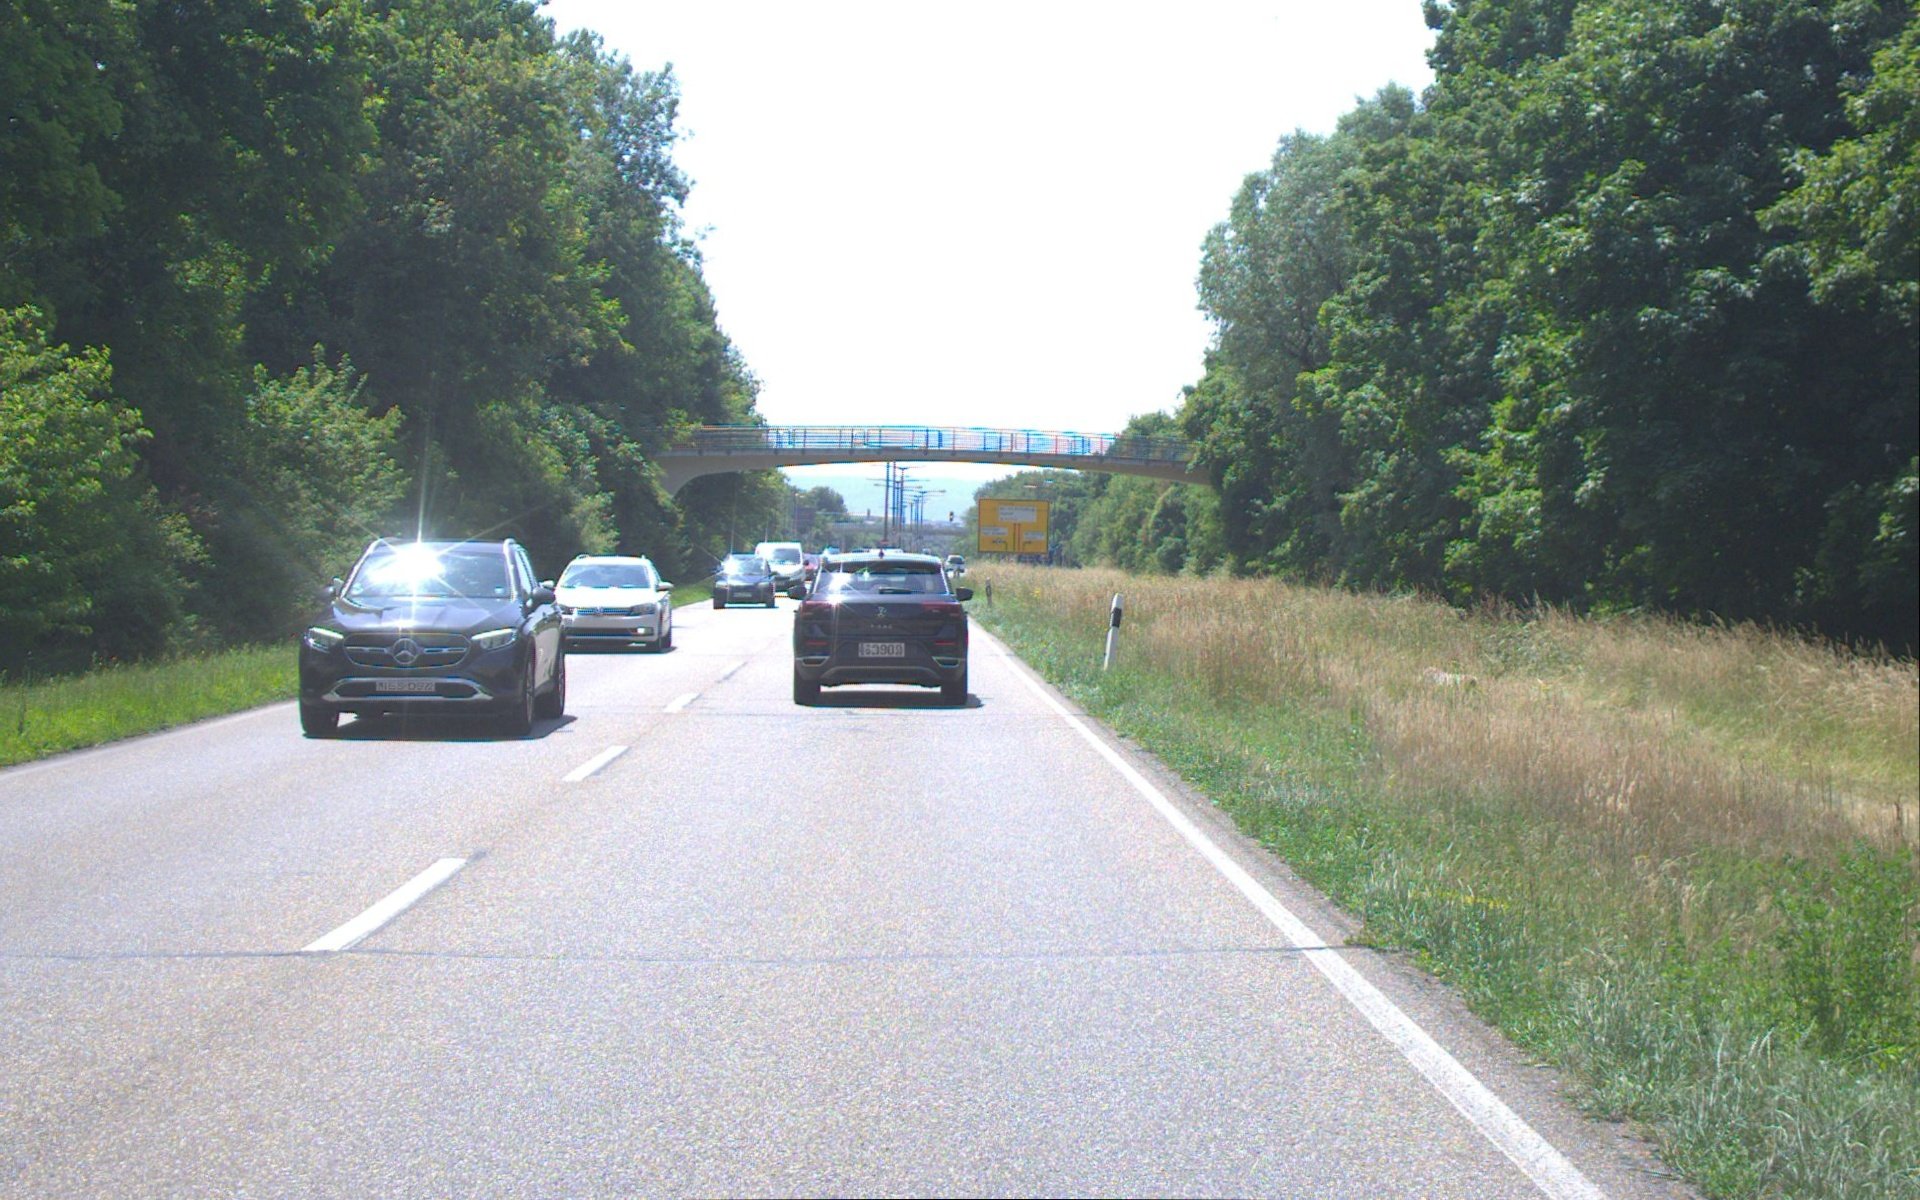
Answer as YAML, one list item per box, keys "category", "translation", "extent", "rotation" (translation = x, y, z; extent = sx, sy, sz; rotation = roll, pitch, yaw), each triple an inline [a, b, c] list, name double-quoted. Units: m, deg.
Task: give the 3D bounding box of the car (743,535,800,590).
- category: "car"
  translation: [-6.712, -1.339, 122.850]
  extent: [1.875, 1.922, 4.988]
  rotation: [0, 1, -1]

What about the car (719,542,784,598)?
- category: "car"
  translation: [-5.873, -0.855, 97.162]
  extent: [1.672, 1.513, 4.000]
  rotation: [1, 1, -2]

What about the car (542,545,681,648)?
- category: "car"
  translation: [-5.427, -0.083, 53.970]
  extent: [1.839, 1.531, 4.659]
  rotation: [0, 1, -2]

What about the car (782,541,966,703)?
- category: "car"
  translation: [-0.840, 0.201, 35.864]
  extent: [1.755, 1.551, 4.000]
  rotation: [1, 0, 0]

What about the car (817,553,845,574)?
- category: "car"
  translation: [-8.776, -2.482, 233.919]
  extent: [1.677, 1.428, 3.772]
  rotation: [-1, 1, 0]

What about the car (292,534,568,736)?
- category: "car"
  translation: [-4.505, 0.242, 29.771]
  extent: [1.865, 1.619, 4.201]
  rotation: [0, 1, -2]

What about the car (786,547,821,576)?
- category: "car"
  translation: [-8.090, -1.992, 178.003]
  extent: [1.682, 1.488, 4.000]
  rotation: [0, 1, -1]
